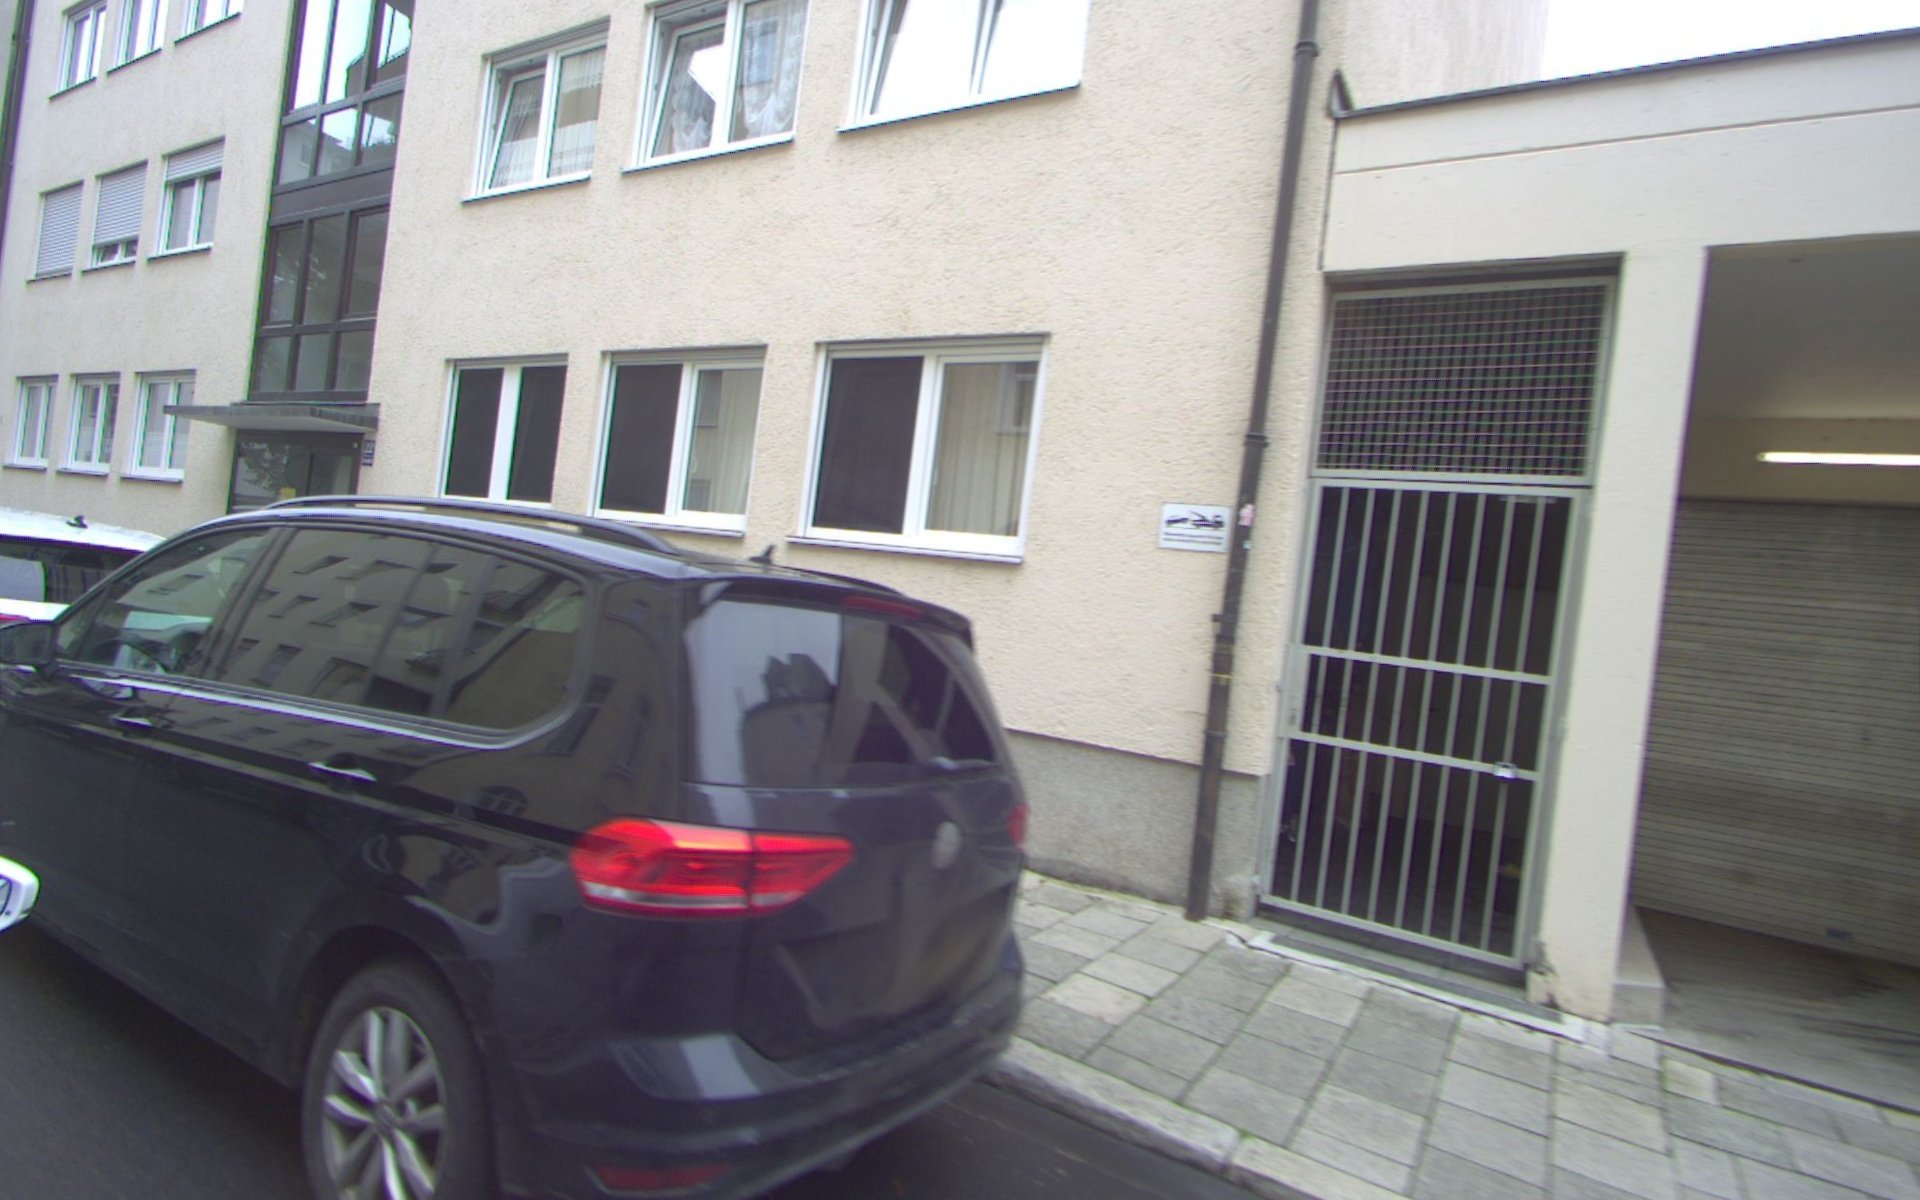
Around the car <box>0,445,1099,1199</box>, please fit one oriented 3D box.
[{"bbox_3d":[-1.865,0.488,3.487,4.173,1.626,1.715,6,-2,31],"label":"car"}]

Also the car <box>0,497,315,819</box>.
[{"bbox_3d":[-6.055,0.129,6.138,4.172,1.503,1.716,6,-2,30],"label":"car"}]

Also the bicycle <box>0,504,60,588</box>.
[{"bbox_3d":[-13.056,-0.773,13.744,1.767,1.043,0.644,6,3,31],"label":"bicycle"}]
